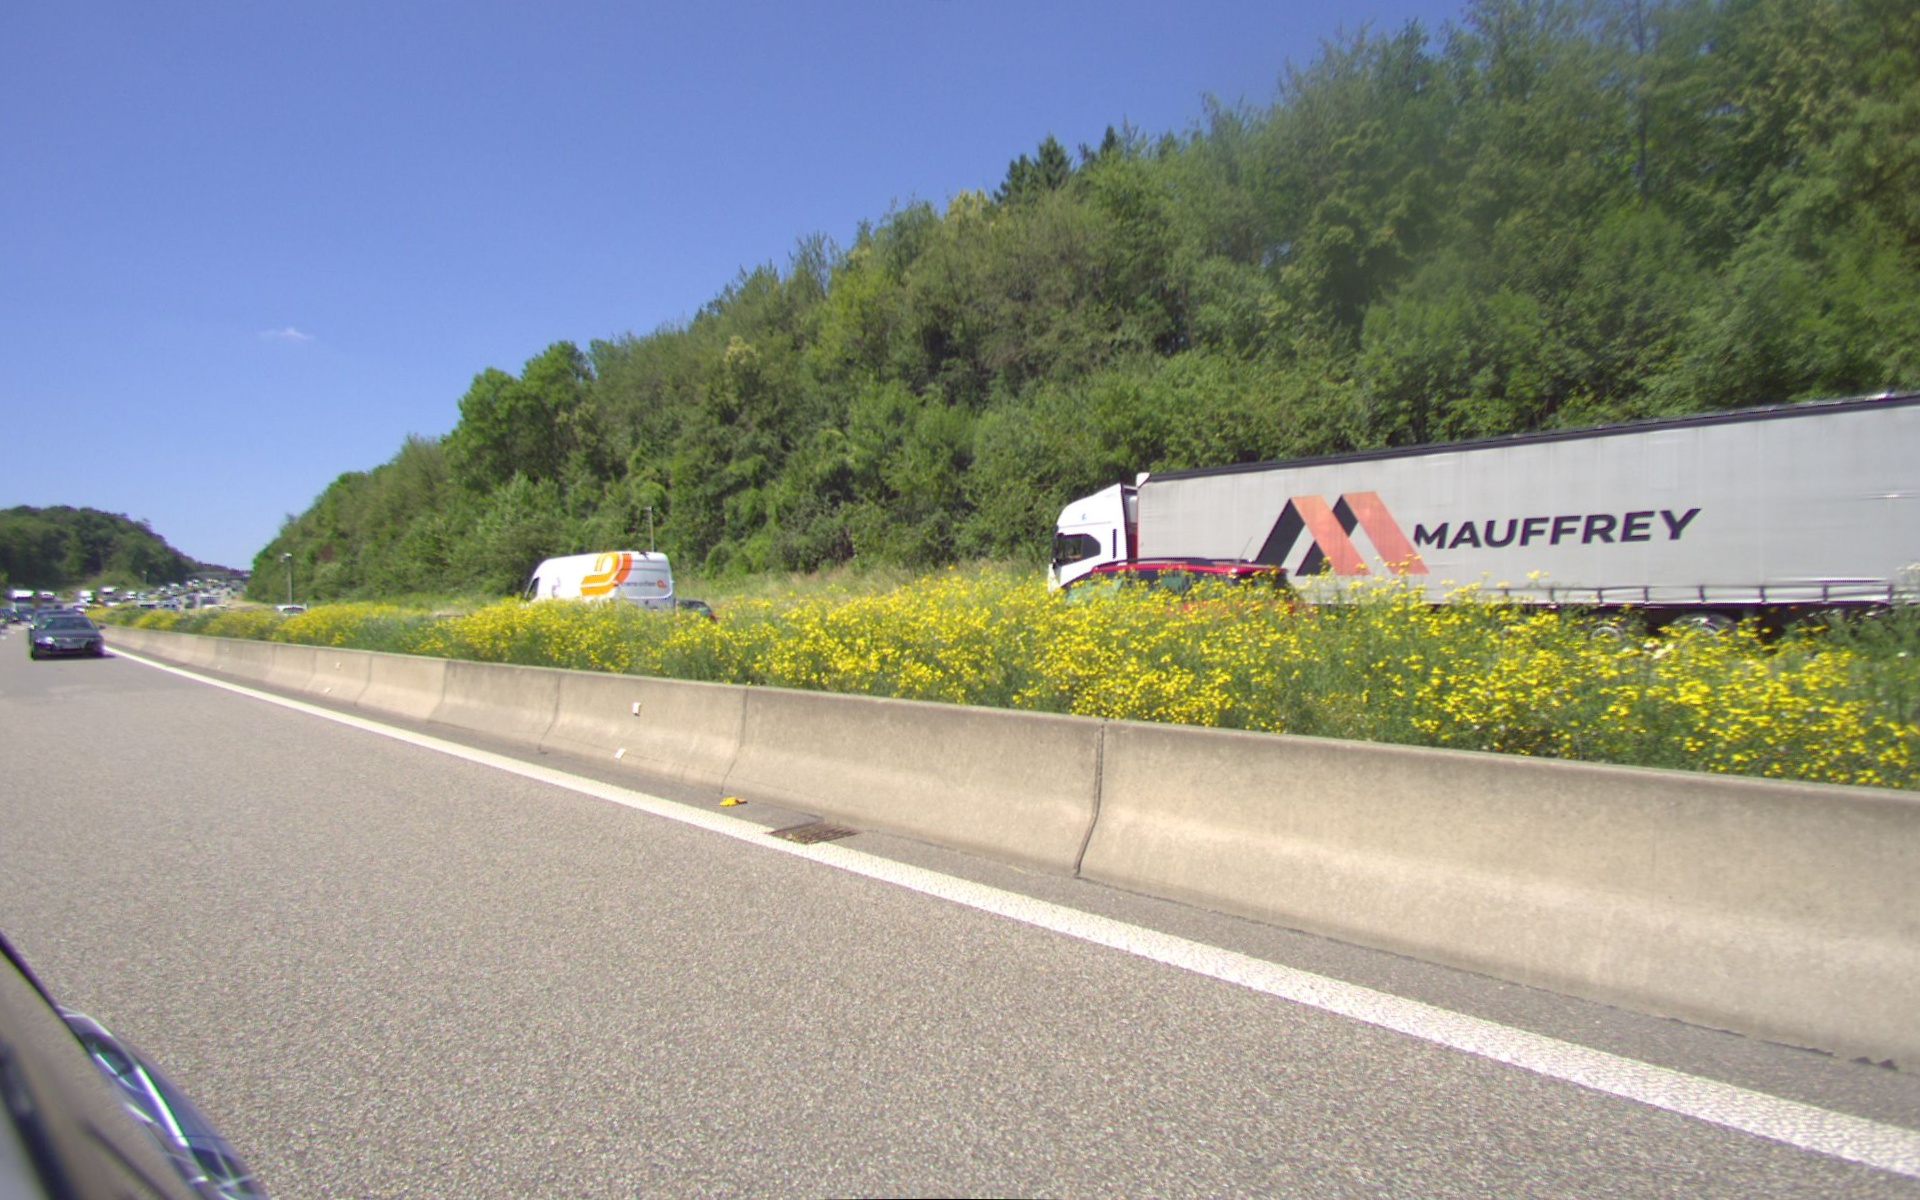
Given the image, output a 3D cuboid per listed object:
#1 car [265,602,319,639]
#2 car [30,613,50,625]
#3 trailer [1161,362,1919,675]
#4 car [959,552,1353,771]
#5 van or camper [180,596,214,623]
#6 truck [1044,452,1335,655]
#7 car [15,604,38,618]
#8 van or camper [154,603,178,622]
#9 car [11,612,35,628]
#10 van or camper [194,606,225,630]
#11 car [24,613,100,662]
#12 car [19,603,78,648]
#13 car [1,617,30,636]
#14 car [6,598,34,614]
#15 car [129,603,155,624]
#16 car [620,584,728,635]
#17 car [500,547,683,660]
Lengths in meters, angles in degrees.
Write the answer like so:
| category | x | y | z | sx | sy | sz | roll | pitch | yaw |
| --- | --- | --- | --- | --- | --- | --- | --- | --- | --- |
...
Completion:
| category | x | y | z | sx | sy | sz | roll | pitch | yaw |
| --- | --- | --- | --- | --- | --- | --- | --- | --- | --- |
| car | -38.885 | 1.140 | 58.855 | 4.002 | 2.029 | 1.857 | 1 | 1 | 45 |
| car | -142.532 | 2.889 | 156.865 | 1.968 | 1.751 | 4.008 | 0 | 1 | -38 |
| trailer | 10.075 | -1.176 | 18.937 | 2.892 | 4.263 | 13.073 | -1 | 1 | -45 |
| car | 2.077 | 0.541 | 11.485 | 1.970 | 2.029 | 4.003 | -1 | 1 | -44 |
| van or camper | -100.849 | 1.195 | 133.716 | 2.510 | 3.342 | 9.011 | -1 | 1 | -44 |
| truck | 5.241 | -0.986 | 23.846 | 2.930 | 4.137 | 6.093 | -1 | 1 | -44 |
| car | -124.799 | 1.467 | 135.333 | 1.968 | 1.751 | 4.008 | 0 | 1 | -38 |
| van or camper | -120.685 | 1.907 | 153.785 | 2.231 | 2.921 | 6.563 | -1 | 0 | -43 |
| car | -110.459 | 2.335 | 119.338 | 1.969 | 1.751 | 4.006 | -1 | 1 | -41 |
| van or camper | -65.725 | 1.526 | 88.558 | 1.672 | 2.028 | 4.216 | -1 | 0 | -44 |
| car | -29.855 | 1.202 | 33.615 | 1.696 | 1.490 | 4.003 | -1 | 0 | -44 |
| car | -44.402 | 1.184 | 49.254 | 1.970 | 2.029 | 4.003 | -1 | 1 | -44 |
| car | -97.499 | 2.690 | 104.537 | 1.968 | 1.751 | 4.007 | -1 | 1 | -40 |
| car | -156.654 | 0.939 | 168.672 | 2.656 | 2.500 | 6.600 | 0 | 1 | -36 |
| car | -108.091 | 1.759 | 133.663 | 2.175 | 2.762 | 5.751 | -1 | 0 | -44 |
| car | -9.548 | 0.302 | 33.602 | 3.929 | 1.586 | 1.667 | -1 | 0 | 43 |
| car | -10.939 | 0.133 | 29.553 | 2.045 | 2.918 | 7.466 | -1 | 0 | -45 |
